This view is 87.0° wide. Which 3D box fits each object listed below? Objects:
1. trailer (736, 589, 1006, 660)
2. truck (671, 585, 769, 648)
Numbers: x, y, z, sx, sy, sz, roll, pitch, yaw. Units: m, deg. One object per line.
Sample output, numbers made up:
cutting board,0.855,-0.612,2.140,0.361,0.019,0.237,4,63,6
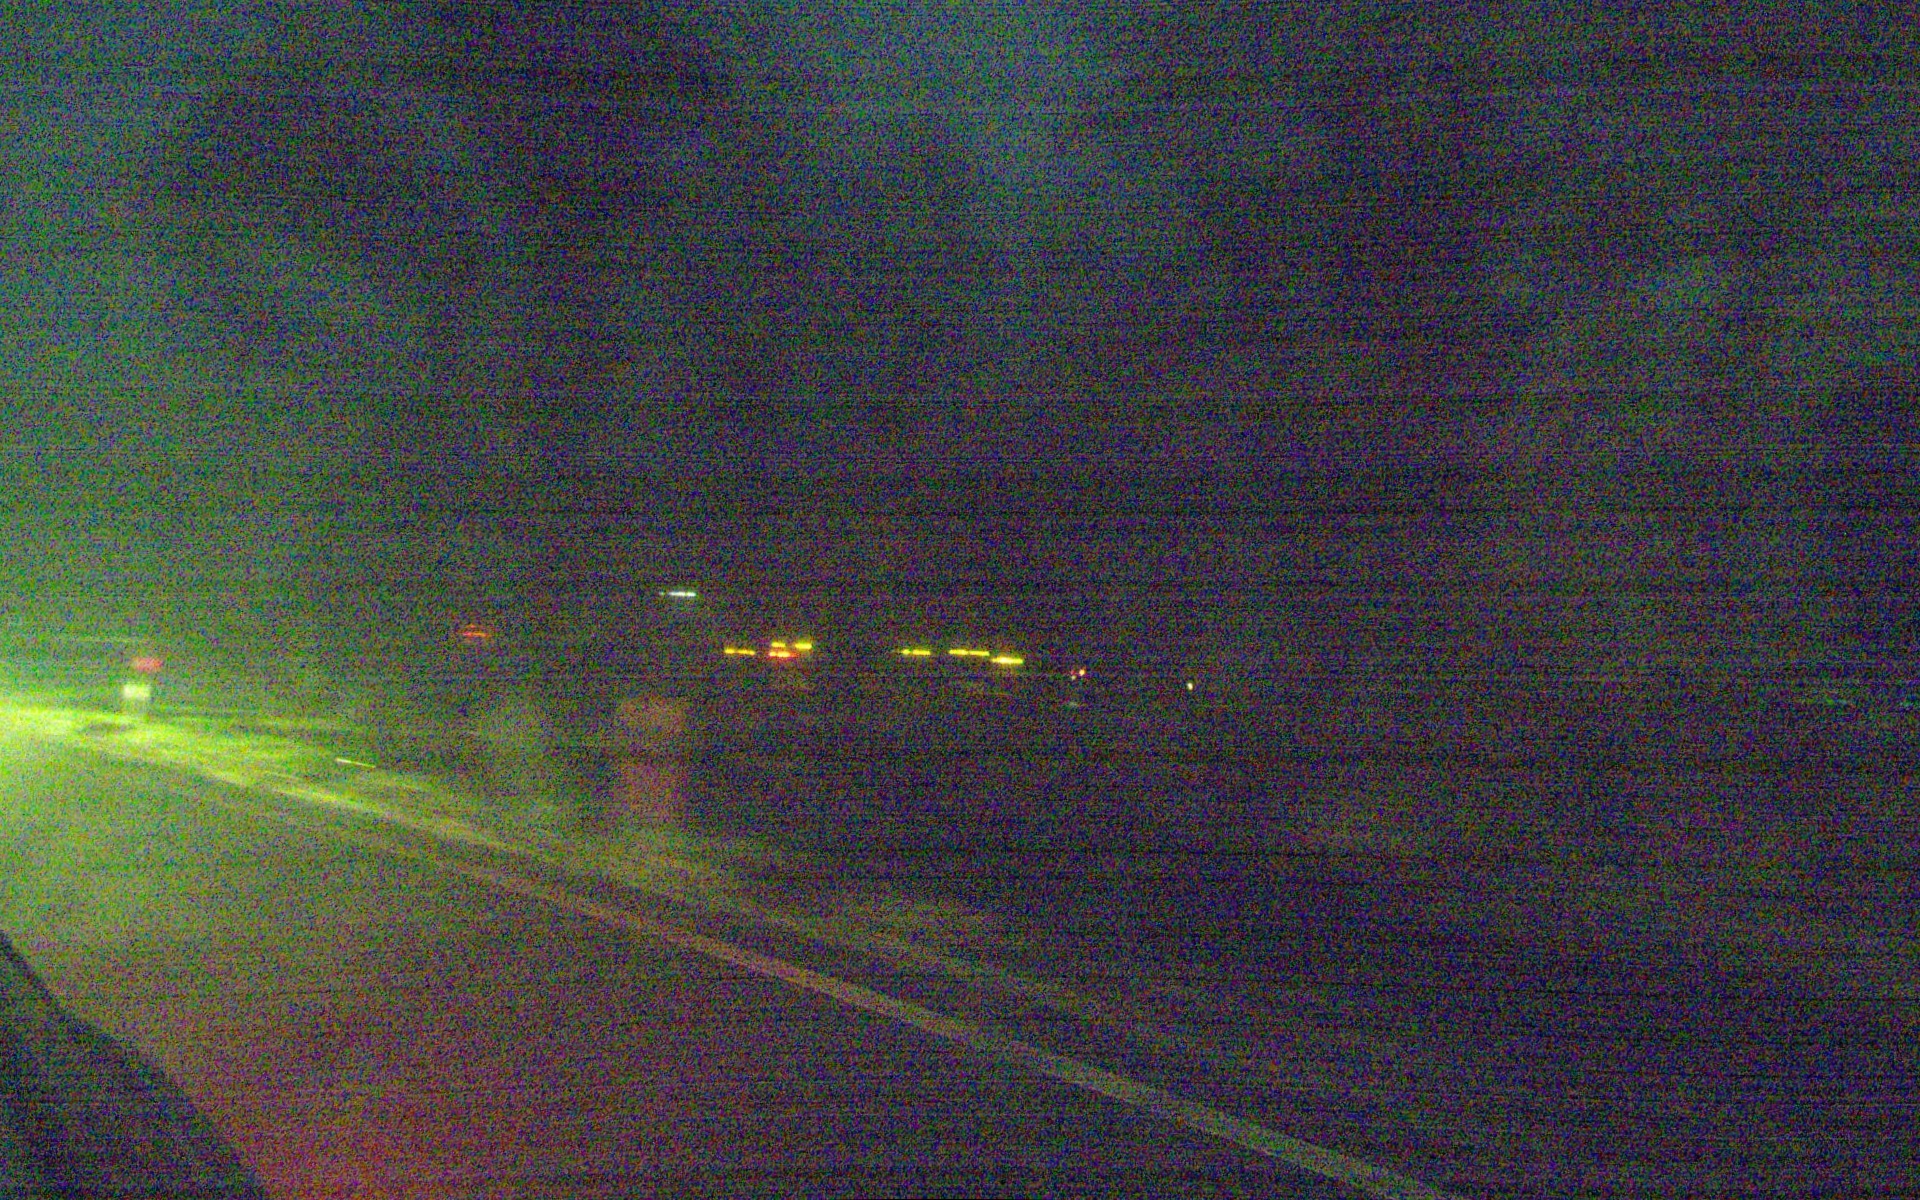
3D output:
trailer,-4.297,1.213,49.671,12.812,2.749,2.003,3,-1,-6
truck,-11.547,0.794,48.936,4.277,2.751,2.002,3,-1,-5
